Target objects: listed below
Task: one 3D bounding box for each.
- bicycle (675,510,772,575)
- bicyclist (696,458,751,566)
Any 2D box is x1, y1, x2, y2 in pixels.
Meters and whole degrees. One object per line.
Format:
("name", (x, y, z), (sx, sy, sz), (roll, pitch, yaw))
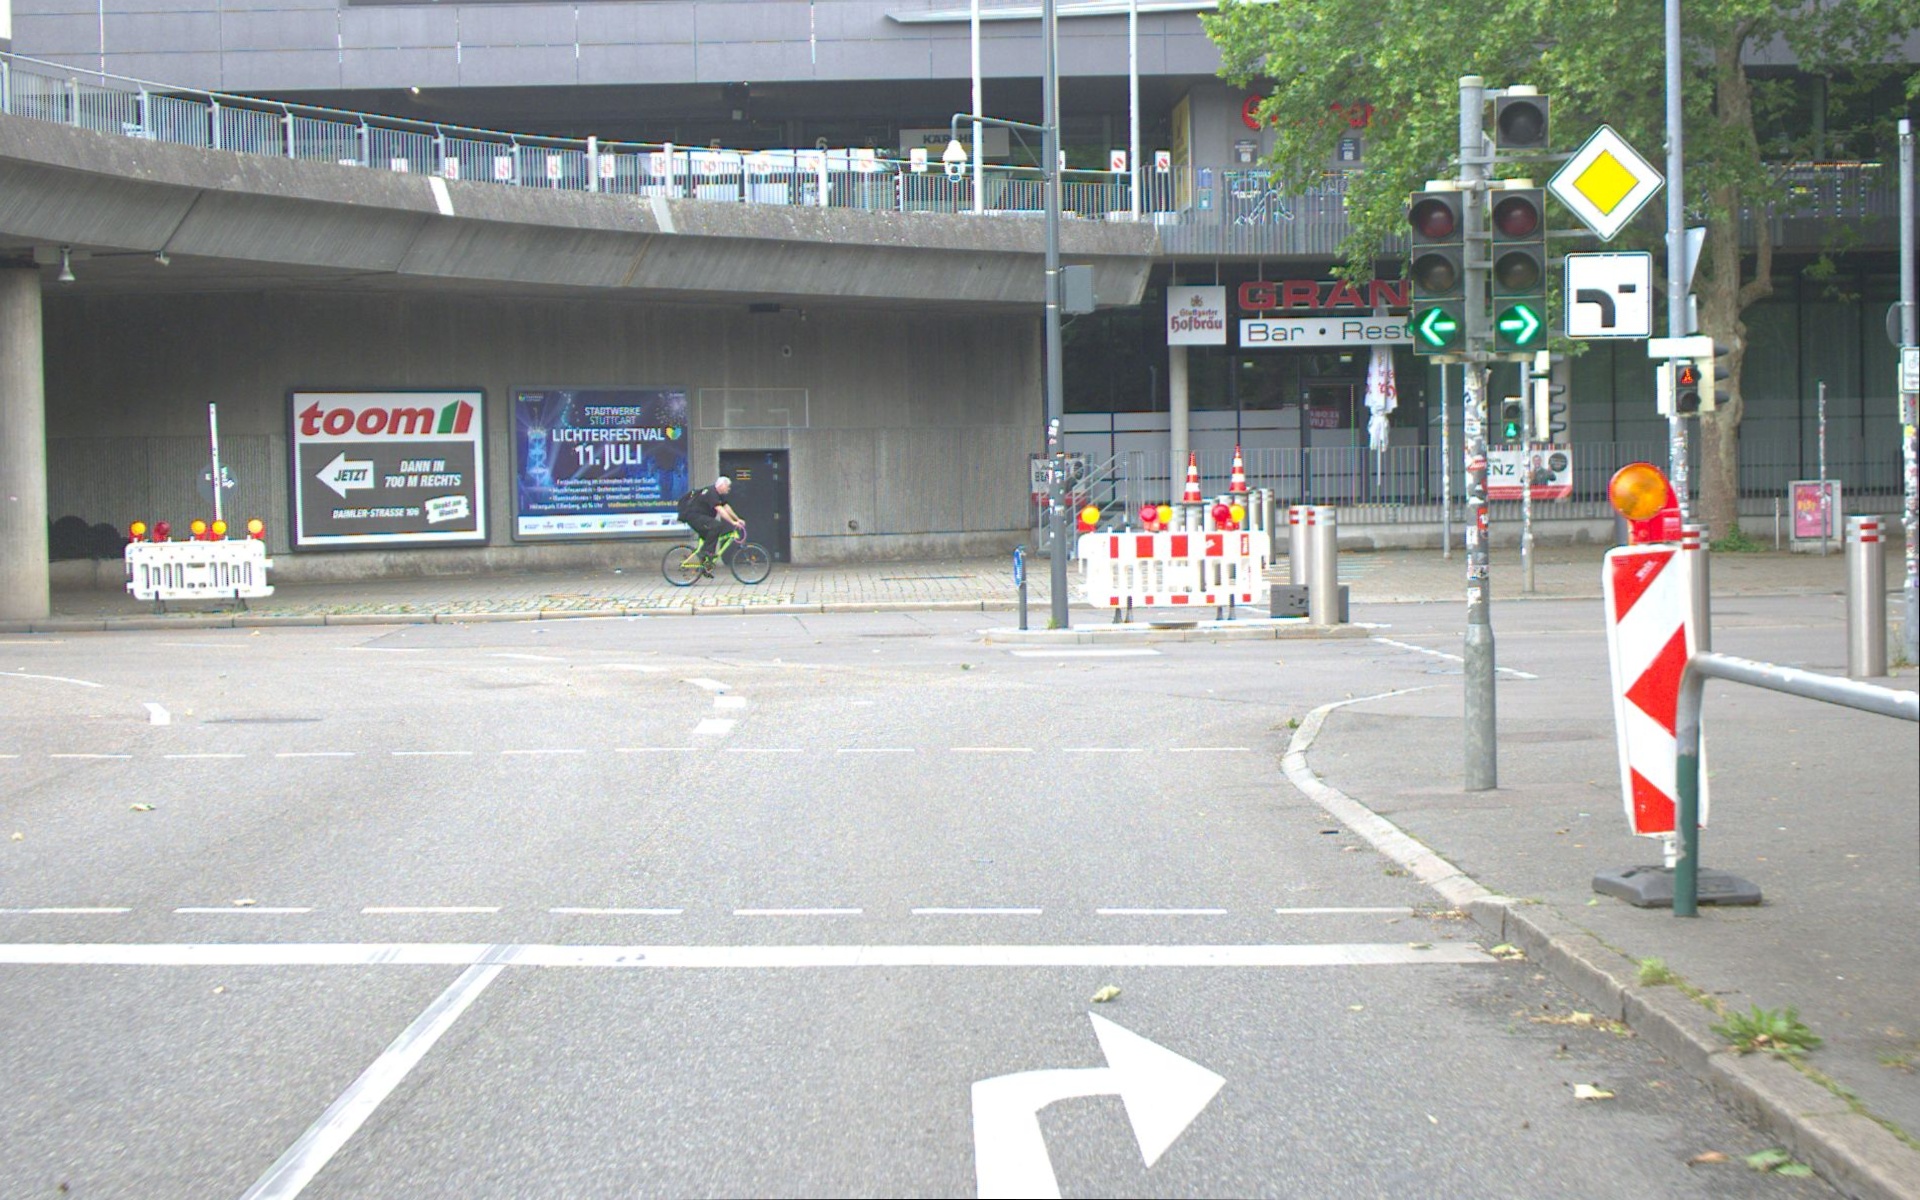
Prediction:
("bicycle", (-3.765, -0.918, 54.726), (1.532, 1.009, 0.517), (1, 1, -4))
("bicyclist", (-3.764, -1.398, 54.722), (0.851, 1.692, 0.767), (1, 1, -4))
